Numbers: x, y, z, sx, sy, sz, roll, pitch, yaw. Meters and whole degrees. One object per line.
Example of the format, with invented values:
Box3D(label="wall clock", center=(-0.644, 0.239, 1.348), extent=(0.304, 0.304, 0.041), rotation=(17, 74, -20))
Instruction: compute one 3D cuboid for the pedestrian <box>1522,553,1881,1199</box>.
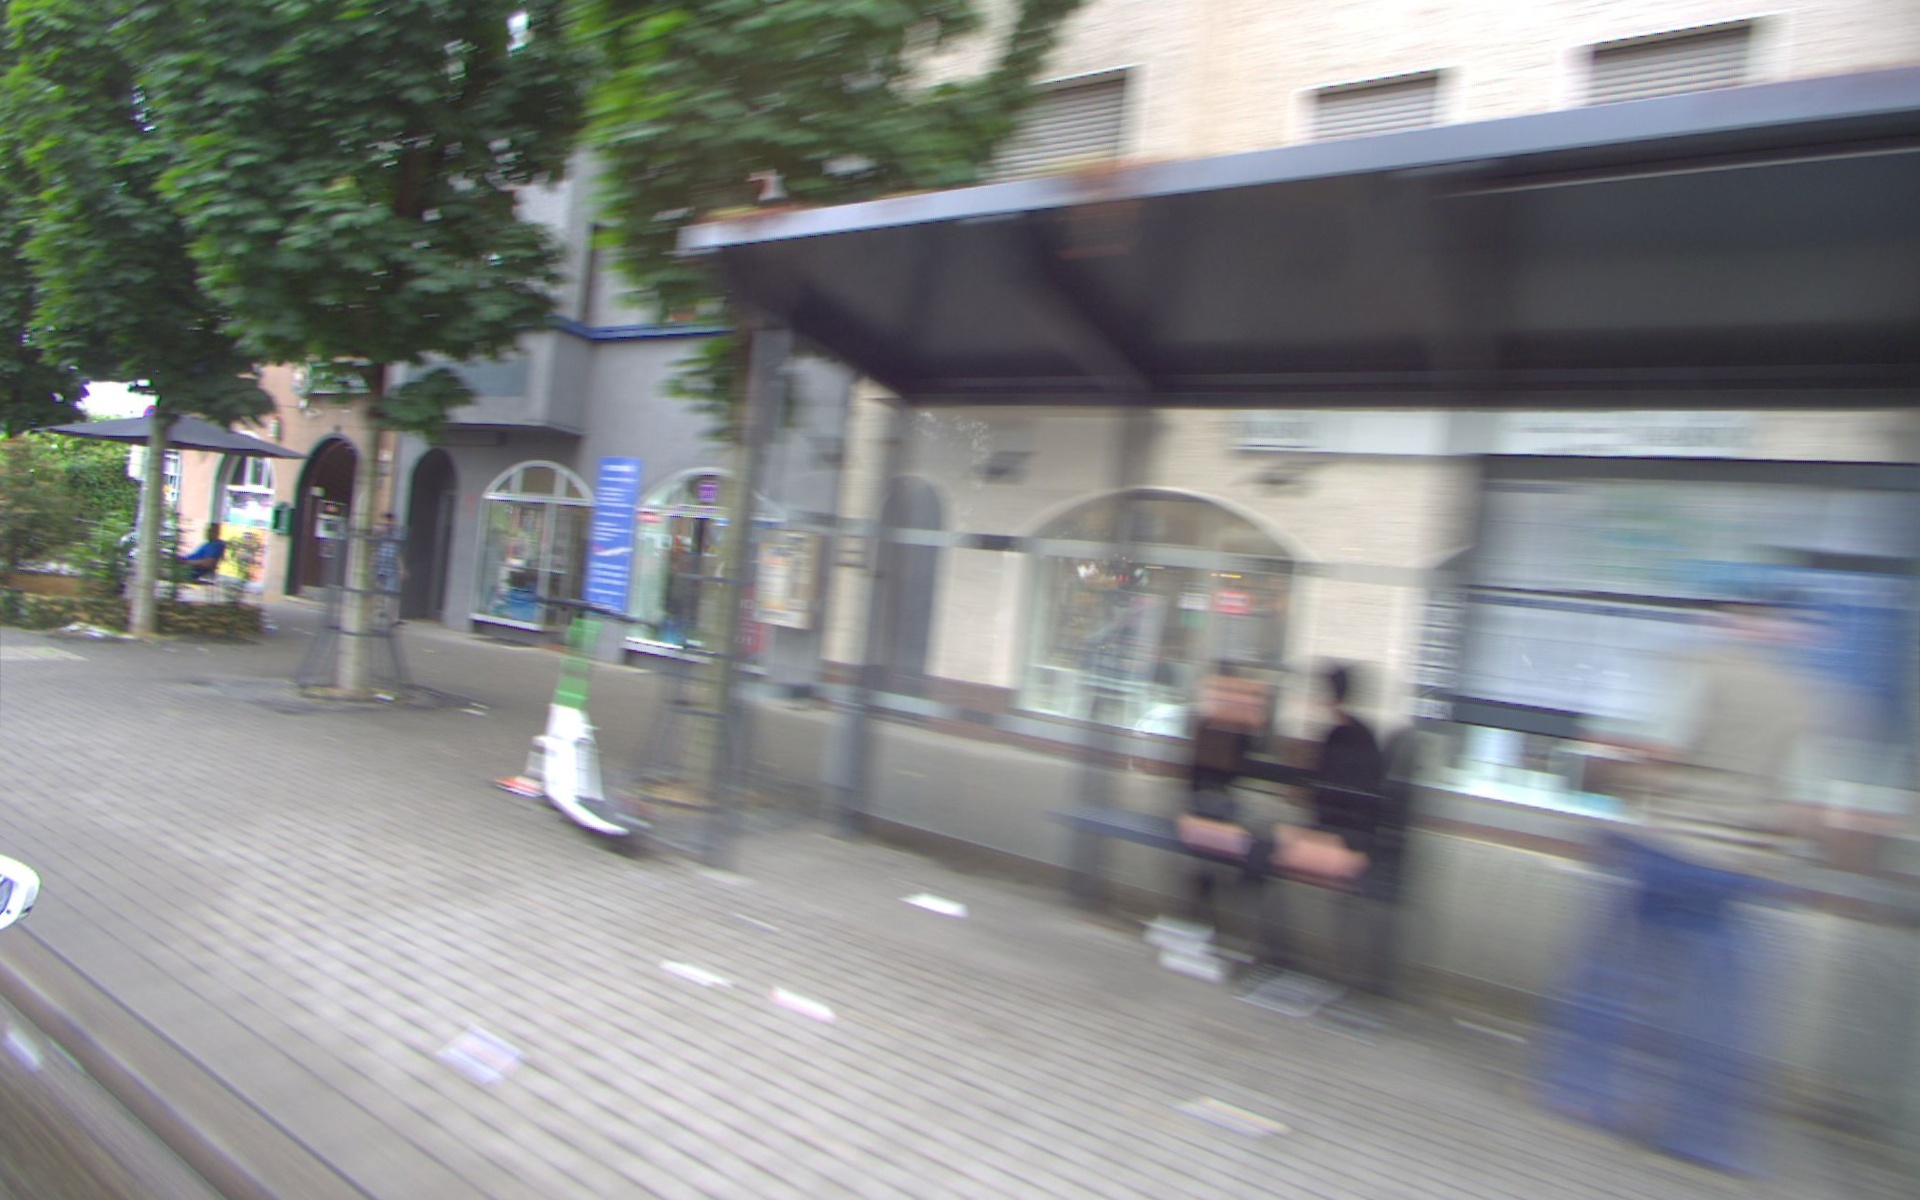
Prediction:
Box3D(label="pedestrian", center=(2.209, 0.767, 3.060), extent=(0.646, 1.720, 0.619), rotation=(7, 1, 36))

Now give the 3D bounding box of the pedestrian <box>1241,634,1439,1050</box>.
Box3D(label="pedestrian", center=(1.485, 0.872, 3.898), extent=(0.505, 1.414, 0.564), rotation=(6, 1, 29))

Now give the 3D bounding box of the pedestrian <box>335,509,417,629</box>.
Box3D(label="pedestrian", center=(-8.268, -0.435, 14.246), extent=(0.714, 1.591, 0.644), rotation=(7, 1, 34))

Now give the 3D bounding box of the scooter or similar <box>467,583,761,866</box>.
Box3D(label="scooter or similar", center=(-1.835, 0.585, 5.254), extent=(1.523, 1.187, 0.511), rotation=(6, 1, 32))

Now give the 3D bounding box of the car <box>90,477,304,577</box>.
Box3D(label="car", center=(-22.048, -2.026, 29.380), extent=(1.962, 2.036, 4.766), rotation=(8, -3, 9))

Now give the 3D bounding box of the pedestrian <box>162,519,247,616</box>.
Box3D(label="pedestrian", center=(-10.142, -0.432, 13.514), extent=(0.547, 1.204, 0.665), rotation=(6, 1, 30))

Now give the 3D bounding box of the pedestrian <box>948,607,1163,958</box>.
Box3D(label="pedestrian", center=(0.432, 0.752, 4.439), extent=(0.614, 1.352, 0.606), rotation=(7, 1, 30))

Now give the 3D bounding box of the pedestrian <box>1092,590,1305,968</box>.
Box3D(label="pedestrian", center=(0.984, 0.685, 4.123), extent=(0.586, 1.367, 0.534), rotation=(7, 1, 30))
